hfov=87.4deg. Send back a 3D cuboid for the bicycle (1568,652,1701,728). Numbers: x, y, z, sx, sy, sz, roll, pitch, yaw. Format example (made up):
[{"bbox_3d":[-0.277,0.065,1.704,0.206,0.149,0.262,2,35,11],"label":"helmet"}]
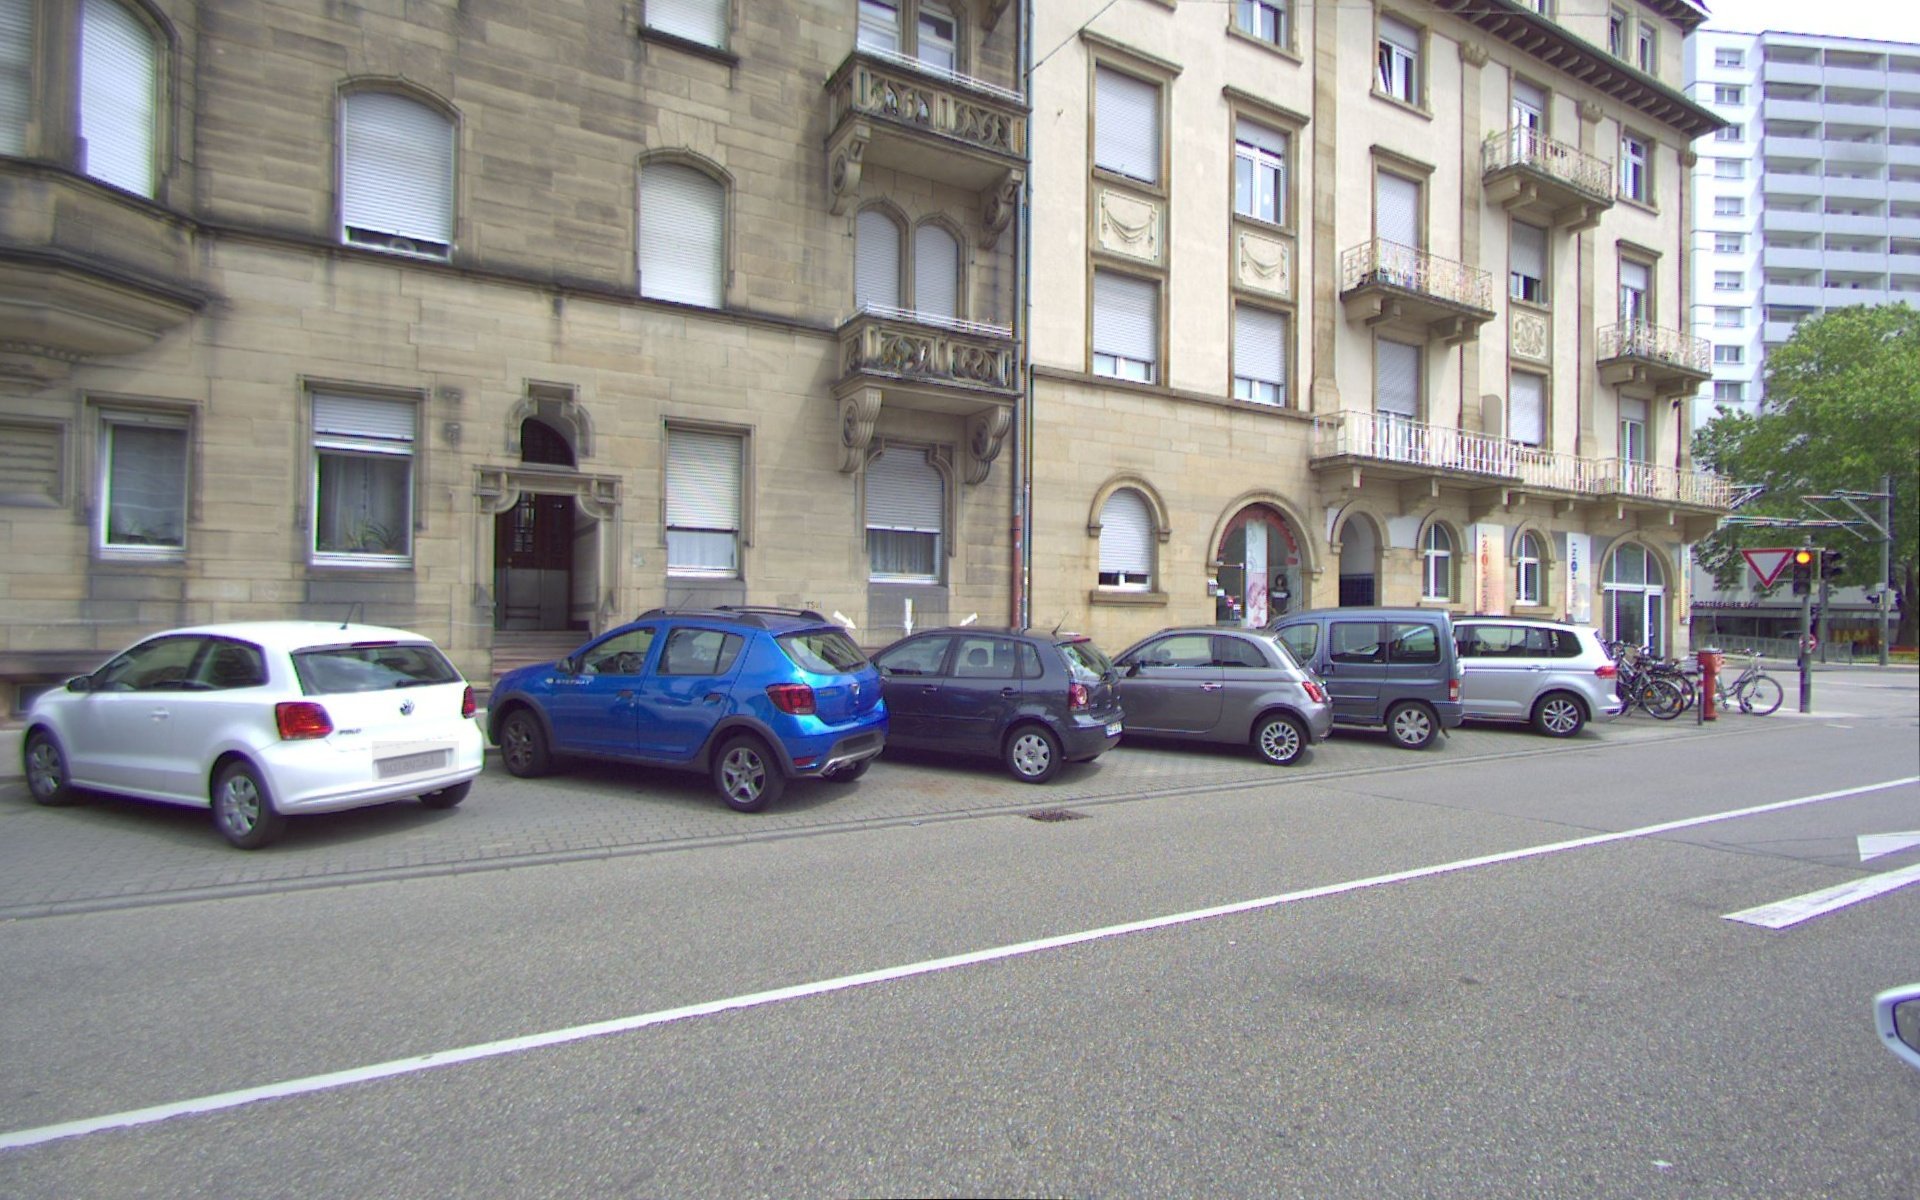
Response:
[{"bbox_3d":[11.073,1.447,16.559,0.586,1.135,1.805,1,-1,-23],"label":"bicycle"}]

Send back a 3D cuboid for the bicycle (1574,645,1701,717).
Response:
[{"bbox_3d":[12.355,1.450,18.369,0.588,1.135,1.796,1,1,-37],"label":"bicycle"}]

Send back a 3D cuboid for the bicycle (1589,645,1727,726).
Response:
[{"bbox_3d":[11.668,1.396,16.856,0.586,1.135,1.803,1,2,-25],"label":"bicycle"}]

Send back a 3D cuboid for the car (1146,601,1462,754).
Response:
[{"bbox_3d":[4.728,0.982,14.031,3.934,1.903,1.796,0,-1,22],"label":"car"}]

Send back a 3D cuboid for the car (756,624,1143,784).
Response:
[{"bbox_3d":[-0.108,1.005,10.997,3.830,1.463,1.836,0,-1,25],"label":"car"}]

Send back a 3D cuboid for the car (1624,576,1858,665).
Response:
[{"bbox_3d":[38.243,1.027,49.921,3.389,3.967,9.911,0,-1,-5],"label":"car"}]

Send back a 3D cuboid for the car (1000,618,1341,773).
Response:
[{"bbox_3d":[2.647,1.076,12.564,3.934,1.673,1.796,0,-1,22],"label":"car"}]

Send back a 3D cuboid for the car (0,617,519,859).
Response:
[{"bbox_3d":[-5.466,0.894,7.841,3.616,1.501,1.741,0,-1,25],"label":"car"}]

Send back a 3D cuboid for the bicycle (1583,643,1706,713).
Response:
[{"bbox_3d":[12.849,1.436,18.901,0.588,1.135,1.796,1,1,-37],"label":"bicycle"}]

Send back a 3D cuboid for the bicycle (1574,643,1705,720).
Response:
[{"bbox_3d":[11.993,1.406,17.775,0.588,1.182,1.796,1,1,-37],"label":"bicycle"}]

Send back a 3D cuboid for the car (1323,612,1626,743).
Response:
[{"bbox_3d":[7.699,1.100,15.452,3.934,1.797,1.796,0,-1,22],"label":"car"}]

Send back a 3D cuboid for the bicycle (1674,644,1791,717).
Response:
[{"bbox_3d":[14.264,1.463,18.618,0.489,1.182,1.878,2,1,-9],"label":"bicycle"}]

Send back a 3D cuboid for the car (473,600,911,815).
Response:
[{"bbox_3d":[-2.498,0.861,9.390,3.706,1.673,1.723,0,-1,24],"label":"car"}]
